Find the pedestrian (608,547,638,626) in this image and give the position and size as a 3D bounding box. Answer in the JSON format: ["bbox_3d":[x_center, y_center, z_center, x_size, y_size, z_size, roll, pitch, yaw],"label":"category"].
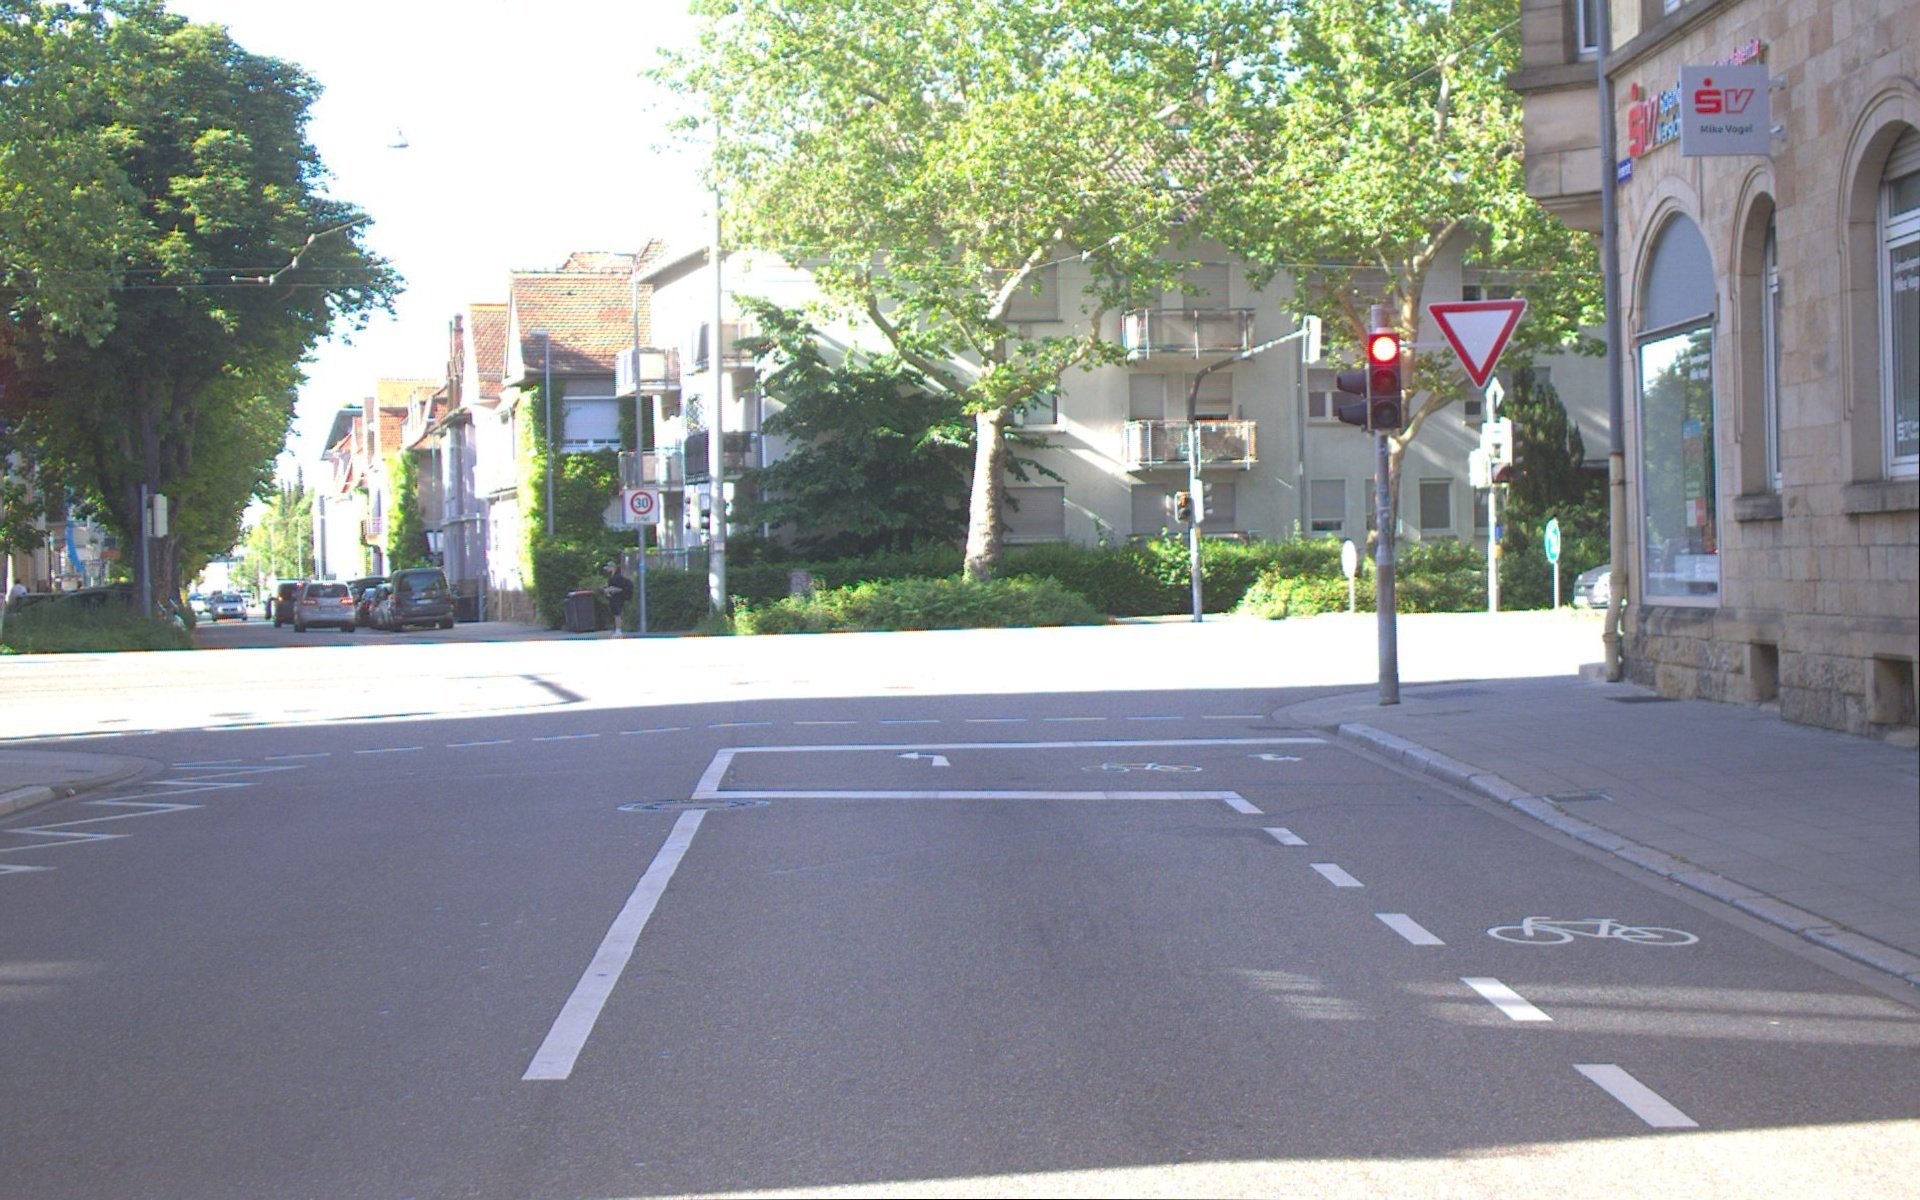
[{"bbox_3d":[-7.486,-0.310,76.345,0.633,1.744,0.659,0,0,-4],"label":"pedestrian"}]

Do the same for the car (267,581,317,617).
[{"bbox_3d":[-26.438,-0.054,135.988,1.737,1.332,3.835,-2,1,-13],"label":"car"}]

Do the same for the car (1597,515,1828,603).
[{"bbox_3d":[13.690,-0.746,62.555,3.786,1.467,1.630,-2,1,-19],"label":"car"}]

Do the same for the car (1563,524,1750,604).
[{"bbox_3d":[14.039,-0.731,69.309,3.379,1.482,1.525,-2,1,-21],"label":"car"}]

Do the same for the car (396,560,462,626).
[{"bbox_3d":[-17.151,-0.242,110.962,1.993,2.007,4.001,-2,1,-9],"label":"car"}]

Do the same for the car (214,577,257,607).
[{"bbox_3d":[-37.629,-0.429,178.482,1.993,1.441,4.001,-2,1,-14],"label":"car"}]

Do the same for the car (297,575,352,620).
[{"bbox_3d":[-21.192,-0.079,114.559,1.673,1.477,3.523,0,0,-12],"label":"car"}]
